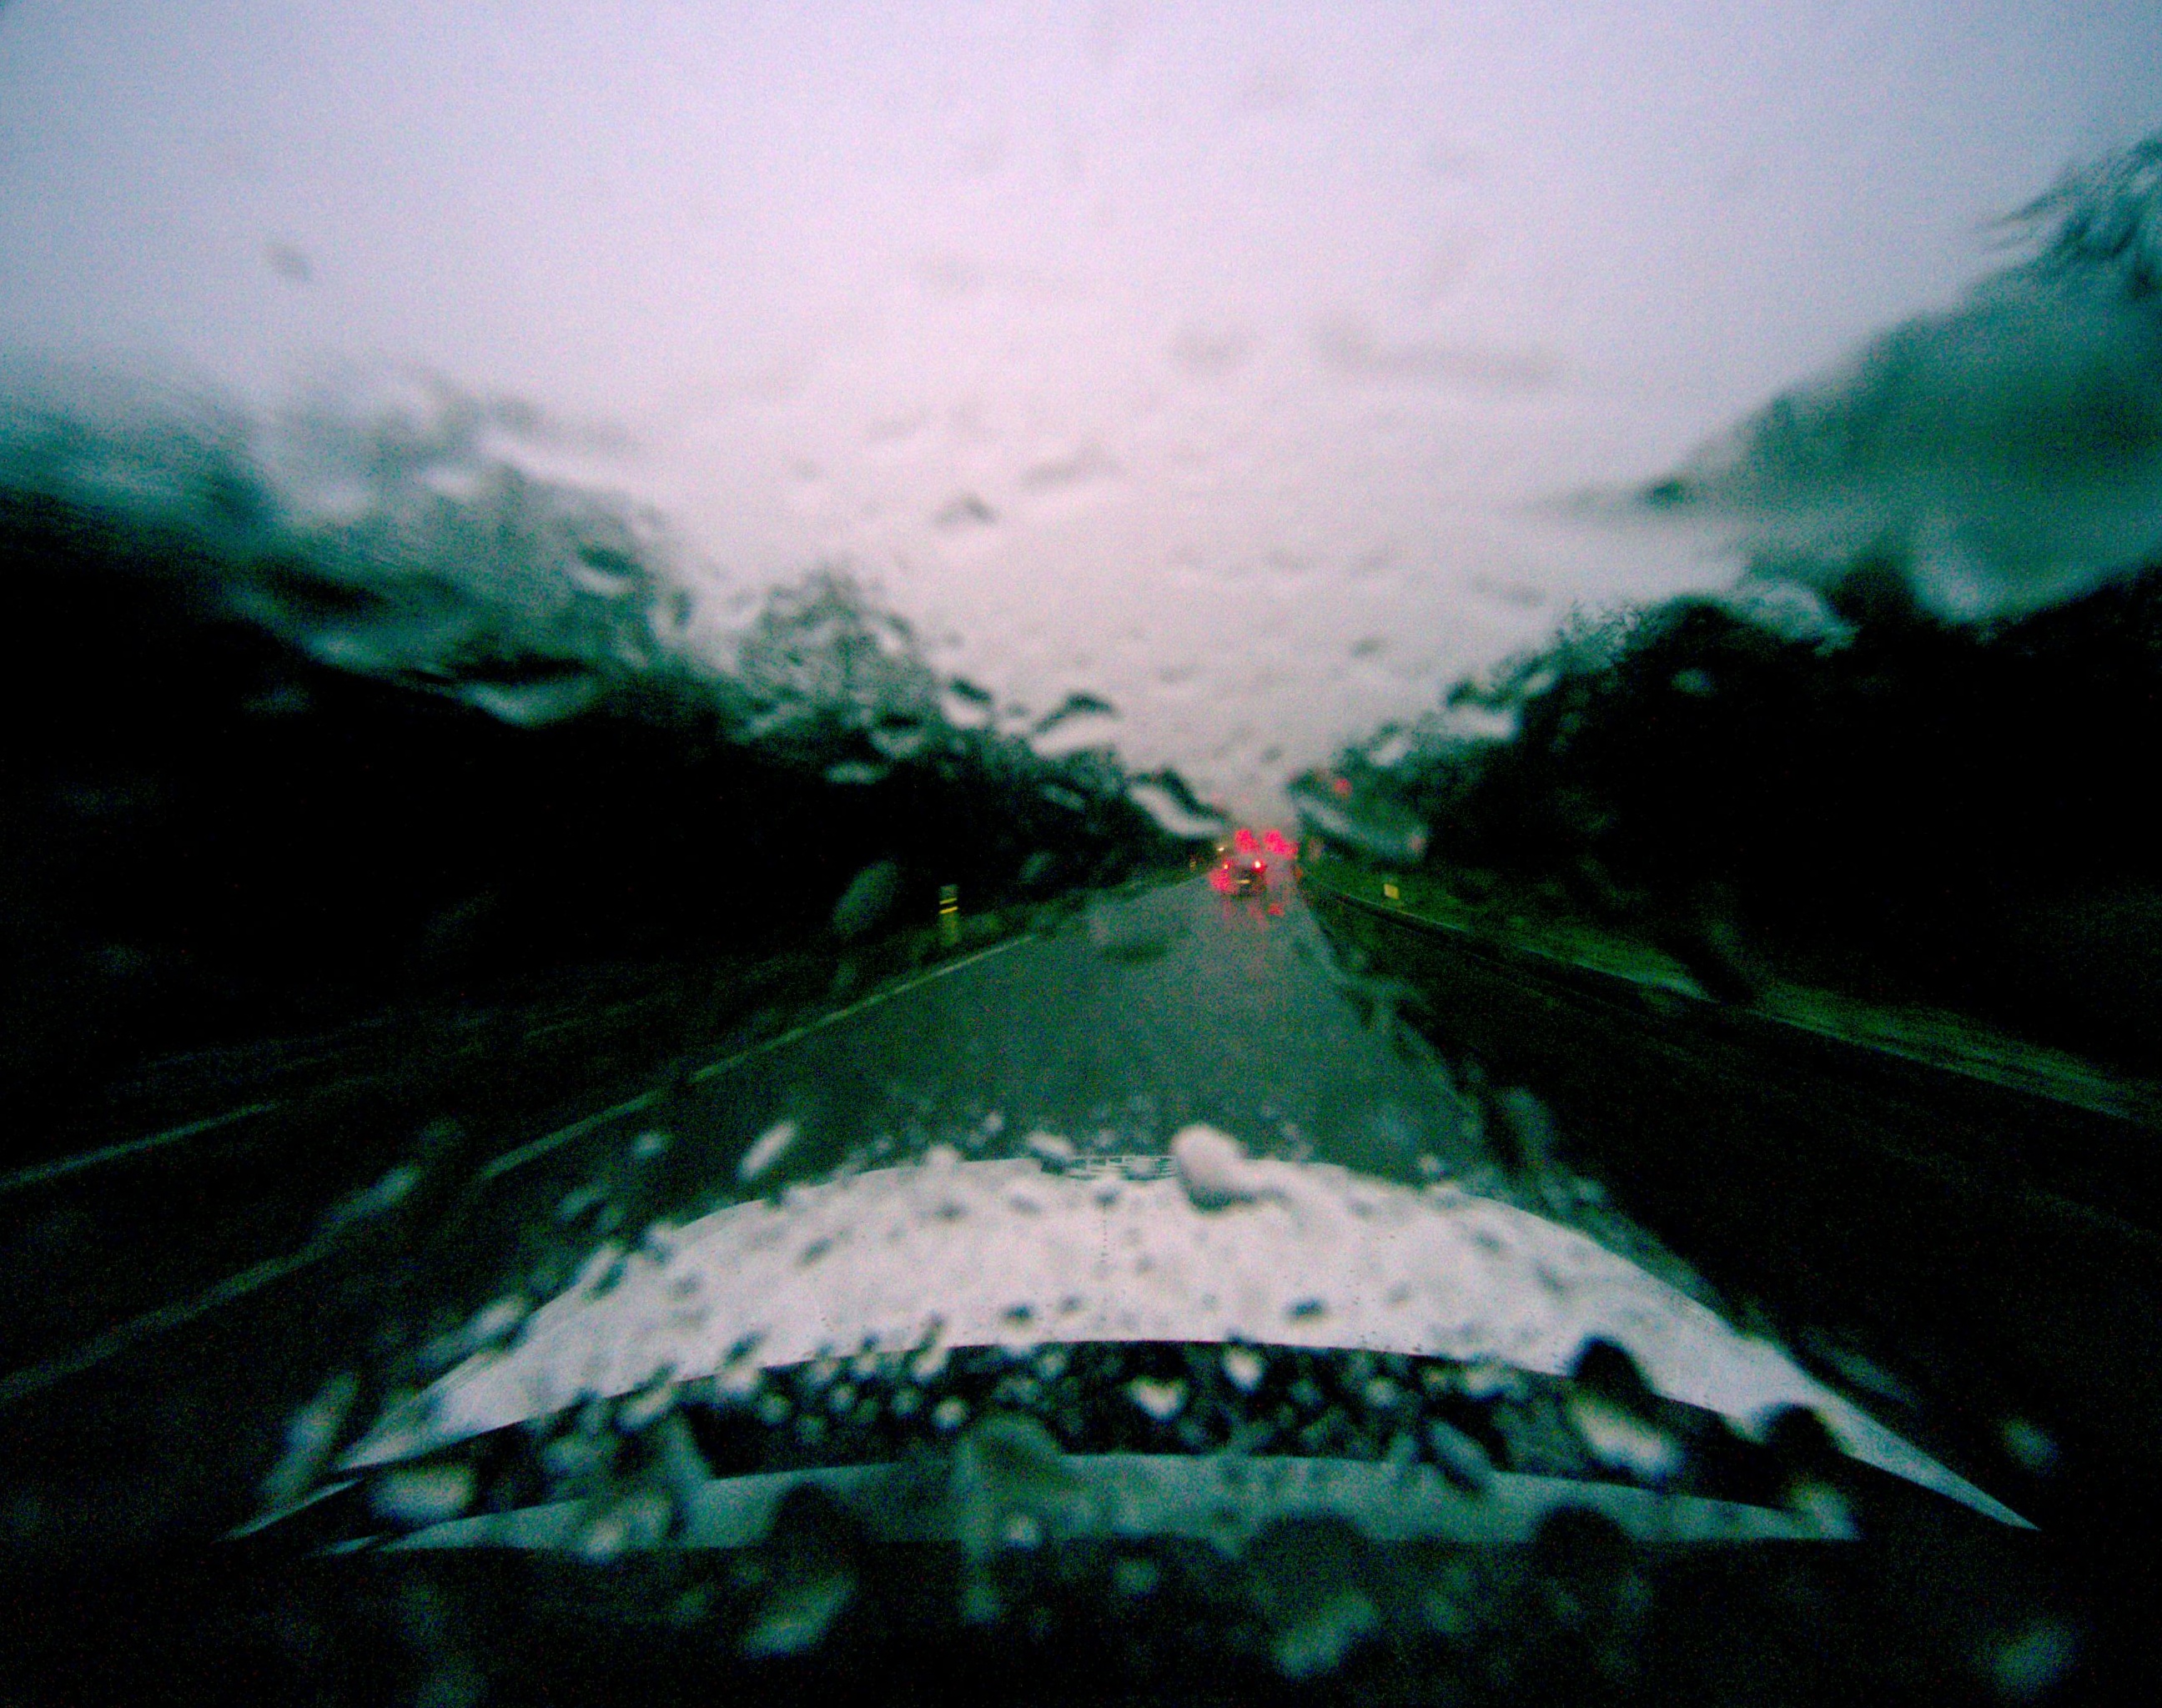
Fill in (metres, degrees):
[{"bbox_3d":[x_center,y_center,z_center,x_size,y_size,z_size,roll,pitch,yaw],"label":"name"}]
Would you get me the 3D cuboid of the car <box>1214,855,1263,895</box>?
[{"bbox_3d":[6.282,0.778,32.162,1.720,1.429,3.778,-2,-1,13],"label":"car"}]
